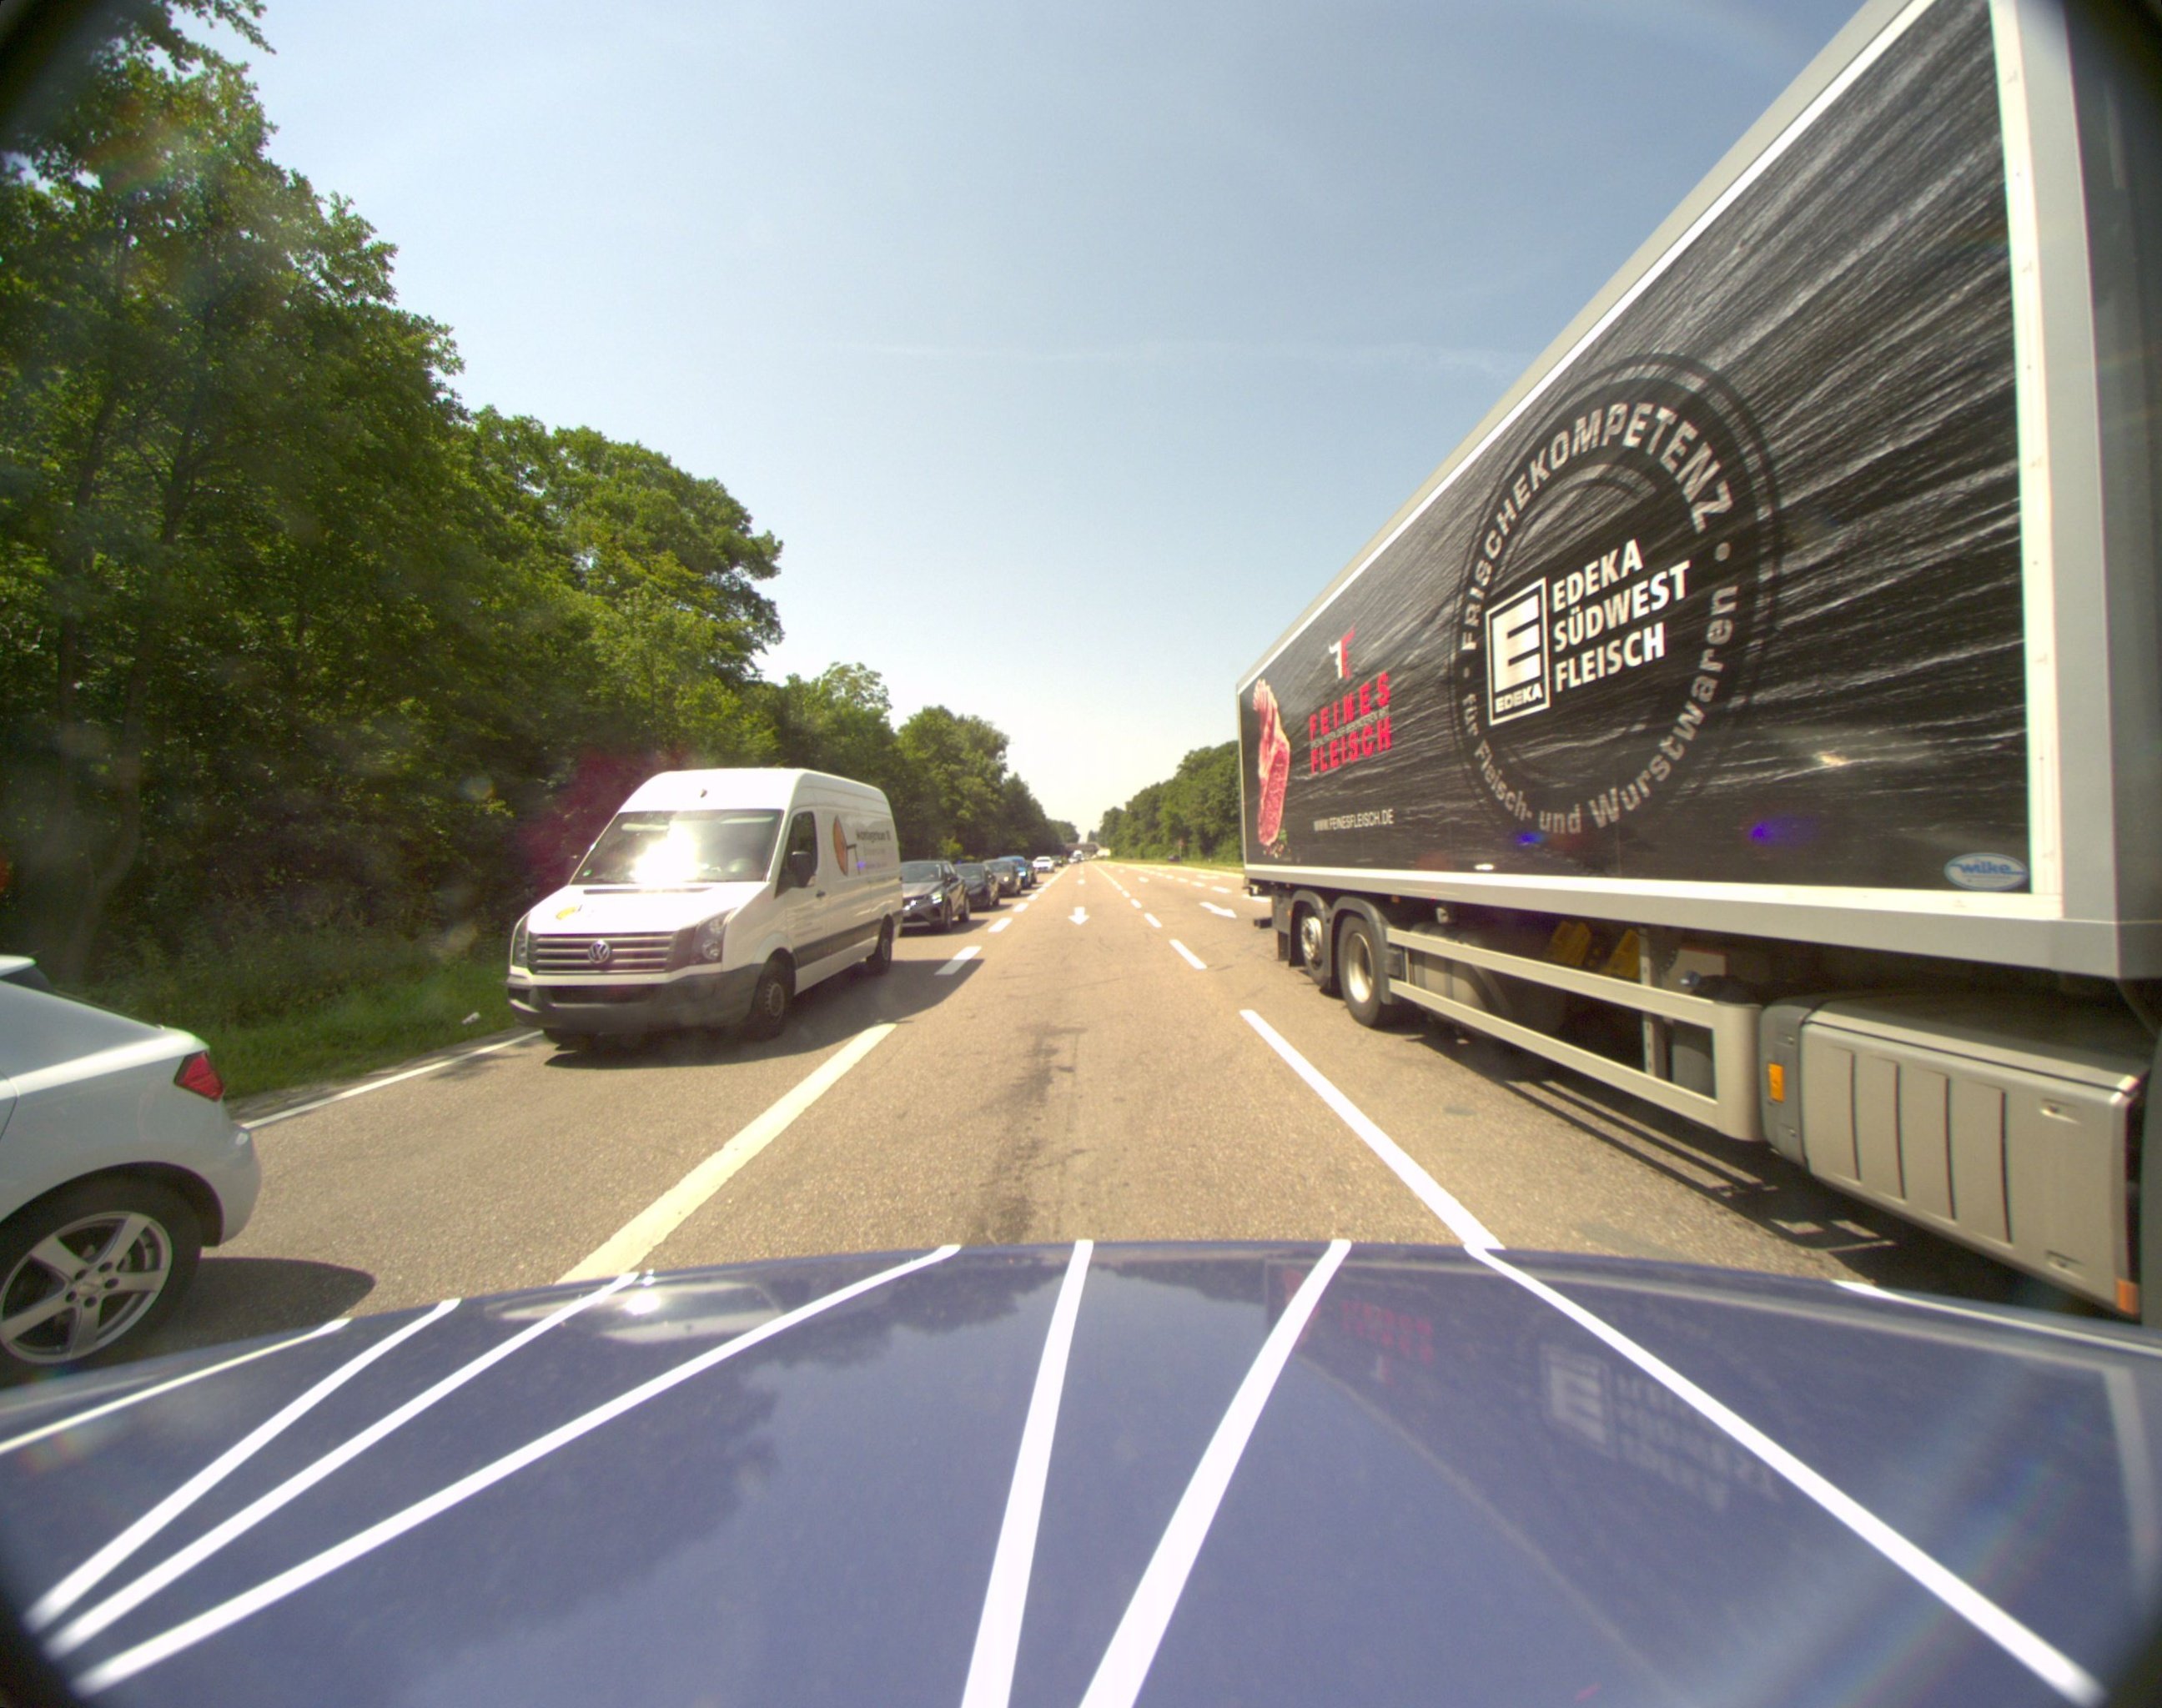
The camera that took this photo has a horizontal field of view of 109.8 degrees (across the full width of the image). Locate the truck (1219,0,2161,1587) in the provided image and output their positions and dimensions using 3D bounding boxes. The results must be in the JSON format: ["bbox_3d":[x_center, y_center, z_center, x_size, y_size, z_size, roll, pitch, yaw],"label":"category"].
[{"bbox_3d":[3.492,-0.462,5.038,2.753,3.862,11.318,-2,0,-1],"label":"truck"}]

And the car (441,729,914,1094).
[{"bbox_3d":[-3.649,0.432,8.645,1.974,2.629,6.060,-2,0,1],"label":"car"}]

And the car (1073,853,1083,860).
[{"bbox_3d":[-0.671,0.596,168.188,1.992,1.575,4.364,-1,0,-1],"label":"car"}]

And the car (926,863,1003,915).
[{"bbox_3d":[-3.488,1.008,23.518,1.796,1.348,4.228,-1,0,-1],"label":"car"}]

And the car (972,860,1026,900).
[{"bbox_3d":[-3.262,0.991,30.888,1.796,1.431,4.228,-1,0,-1],"label":"car"}]

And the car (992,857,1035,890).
[{"bbox_3d":[-3.219,0.905,36.997,1.796,1.431,4.228,-1,0,-1],"label":"car"}]

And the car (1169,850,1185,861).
[{"bbox_3d":[14.980,0.244,118.638,1.999,1.543,3.999,-2,1,0],"label":"car"}]

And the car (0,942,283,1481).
[{"bbox_3d":[-3.976,1.093,0.880,1.693,1.427,4.001,-3,0,3],"label":"car"}]

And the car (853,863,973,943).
[{"bbox_3d":[-3.624,0.998,17.189,1.796,1.452,4.228,-2,0,-1],"label":"car"}]

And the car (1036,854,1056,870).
[{"bbox_3d":[-3.279,0.772,71.822,1.796,1.431,4.228,0,0,-1],"label":"car"}]

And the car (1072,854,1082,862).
[{"bbox_3d":[-0.780,0.753,144.530,1.796,1.431,4.228,-1,0,-1],"label":"car"}]

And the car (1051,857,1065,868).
[{"bbox_3d":[-3.156,1.094,103.801,1.796,1.431,4.228,-1,0,-1],"label":"car"}]
